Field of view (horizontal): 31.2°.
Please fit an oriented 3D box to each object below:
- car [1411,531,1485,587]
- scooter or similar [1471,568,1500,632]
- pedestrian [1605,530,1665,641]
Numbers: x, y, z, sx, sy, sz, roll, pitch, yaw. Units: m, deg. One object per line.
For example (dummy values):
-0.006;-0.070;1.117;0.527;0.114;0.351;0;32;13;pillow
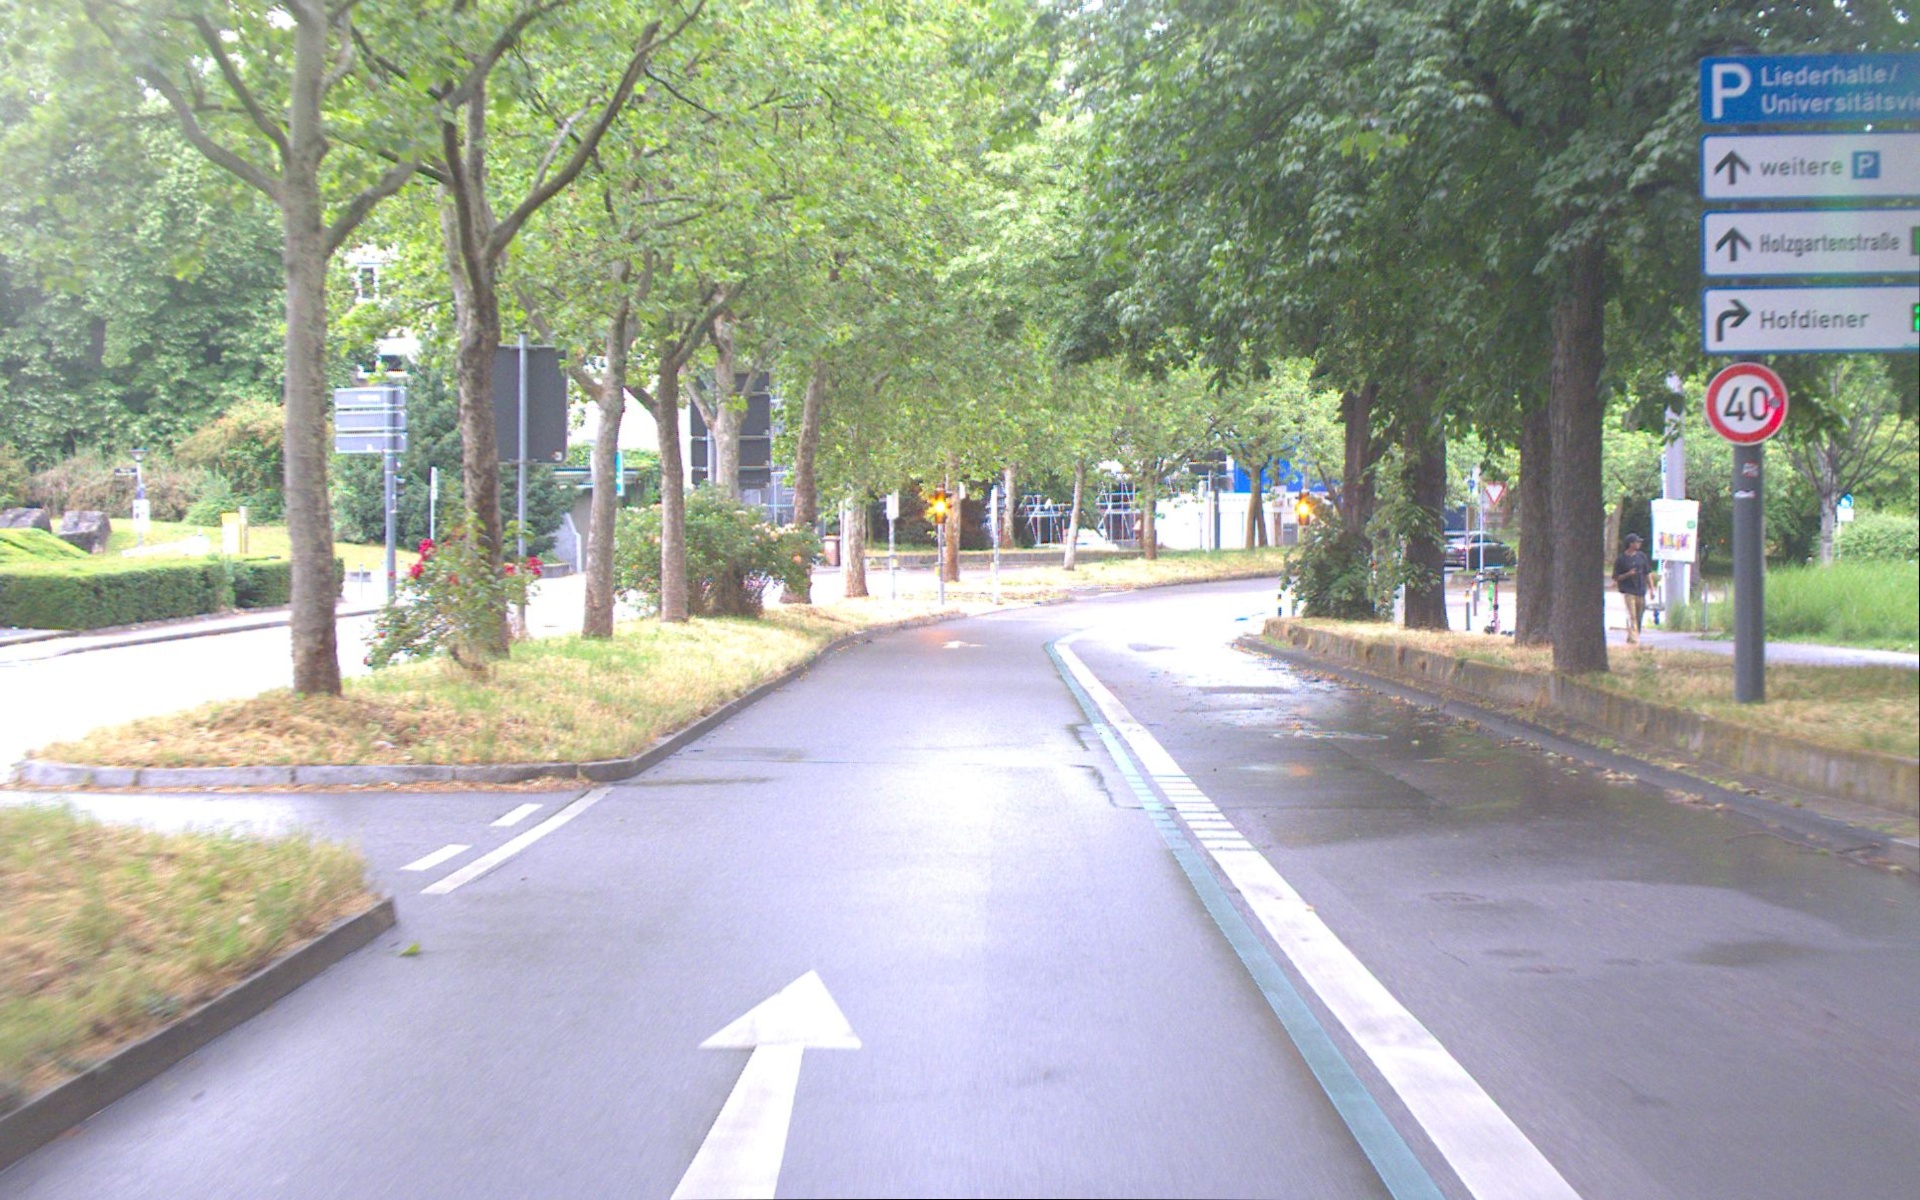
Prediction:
17.737;-1.511;124.903;1.995;2.007;3.997;0;1;18;car
8.627;-0.006;56.444;0.292;1.022;1.066;0;1;-1;scooter or similar
9.991;-0.224;50.903;0.703;1.633;0.935;0;1;-1;pedestrian
